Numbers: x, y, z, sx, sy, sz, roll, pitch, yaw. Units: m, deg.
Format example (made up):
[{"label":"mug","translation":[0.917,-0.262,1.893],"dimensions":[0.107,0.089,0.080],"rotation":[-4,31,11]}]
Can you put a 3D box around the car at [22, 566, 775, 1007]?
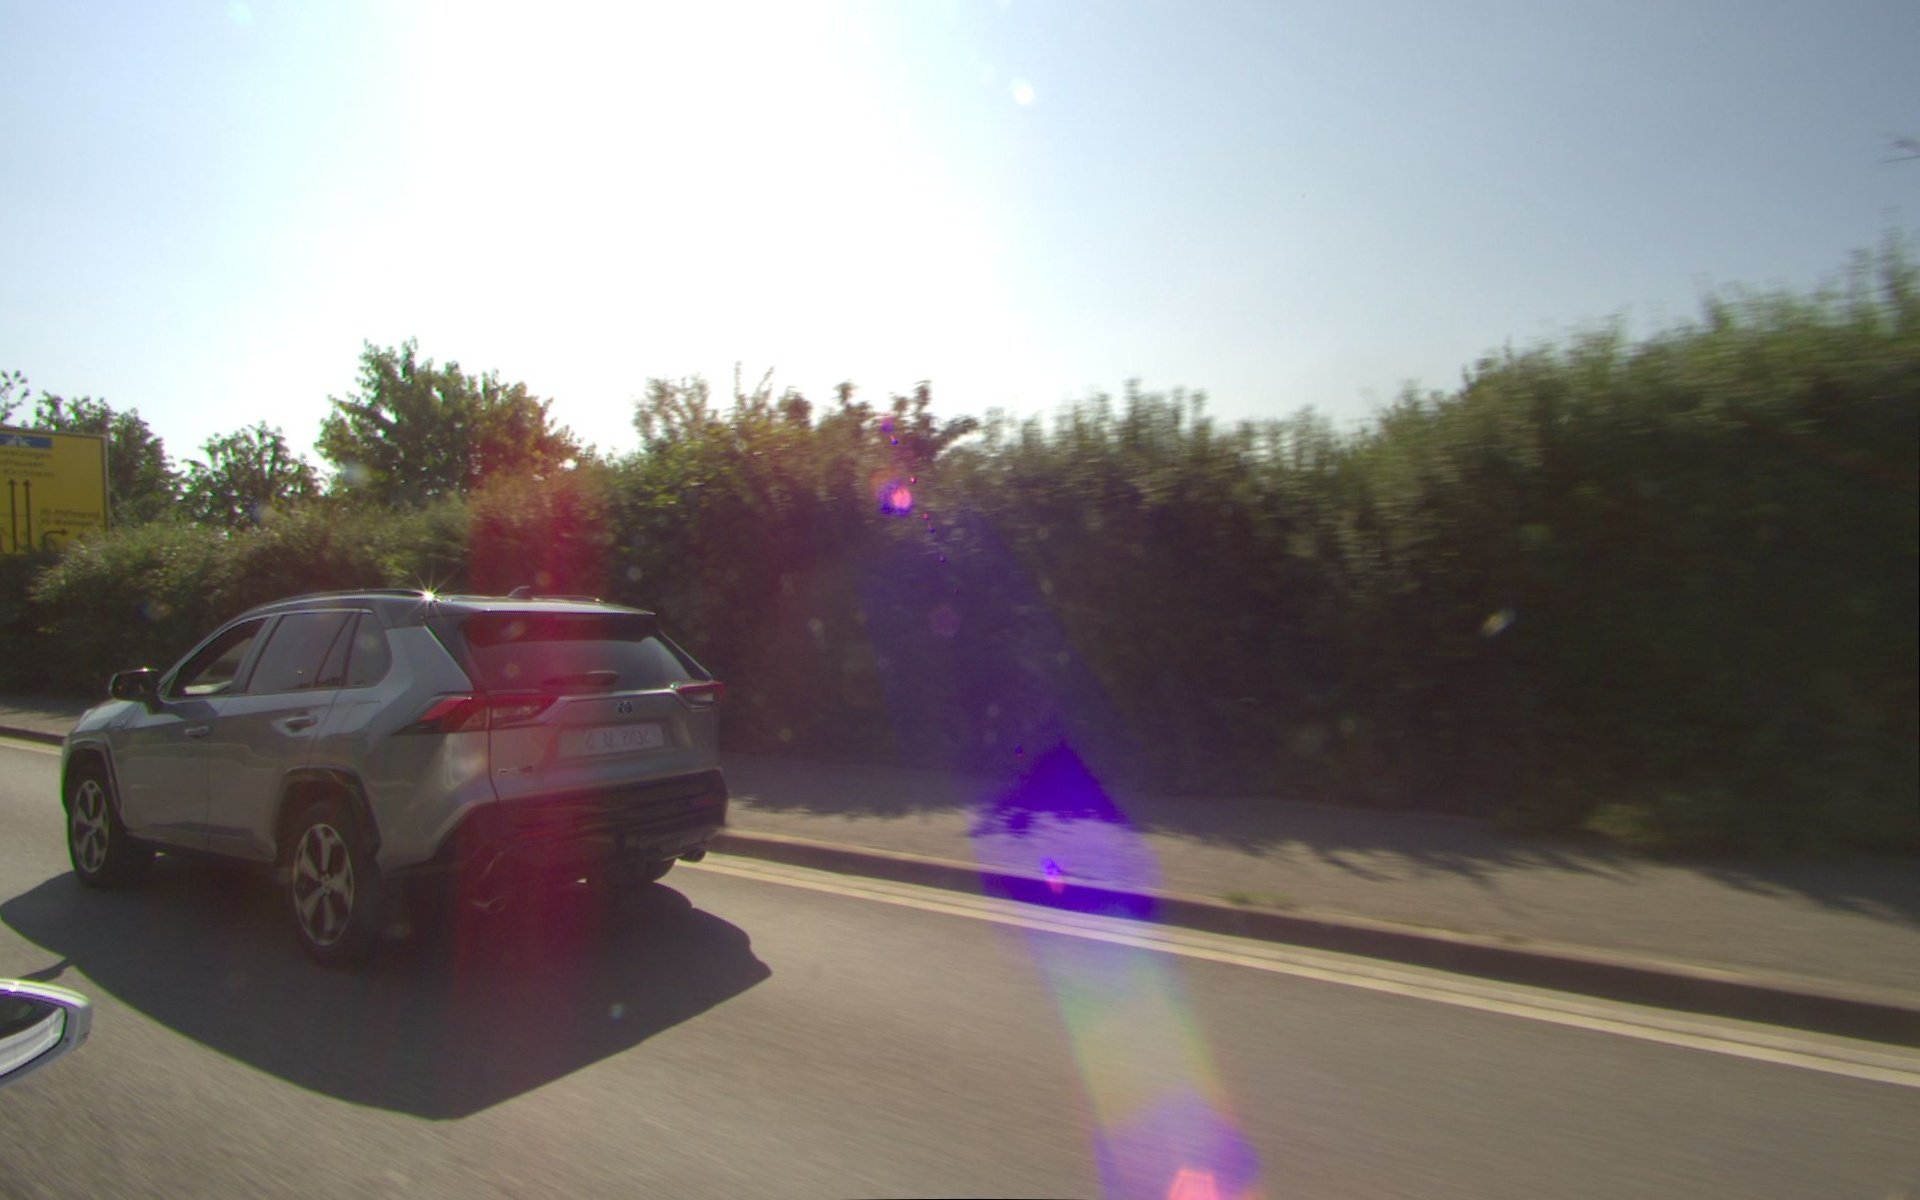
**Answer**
[{"label":"car","translation":[-3.465,0.780,5.909],"dimensions":[4.616,1.701,1.899],"rotation":[-1,-2,32]}]
